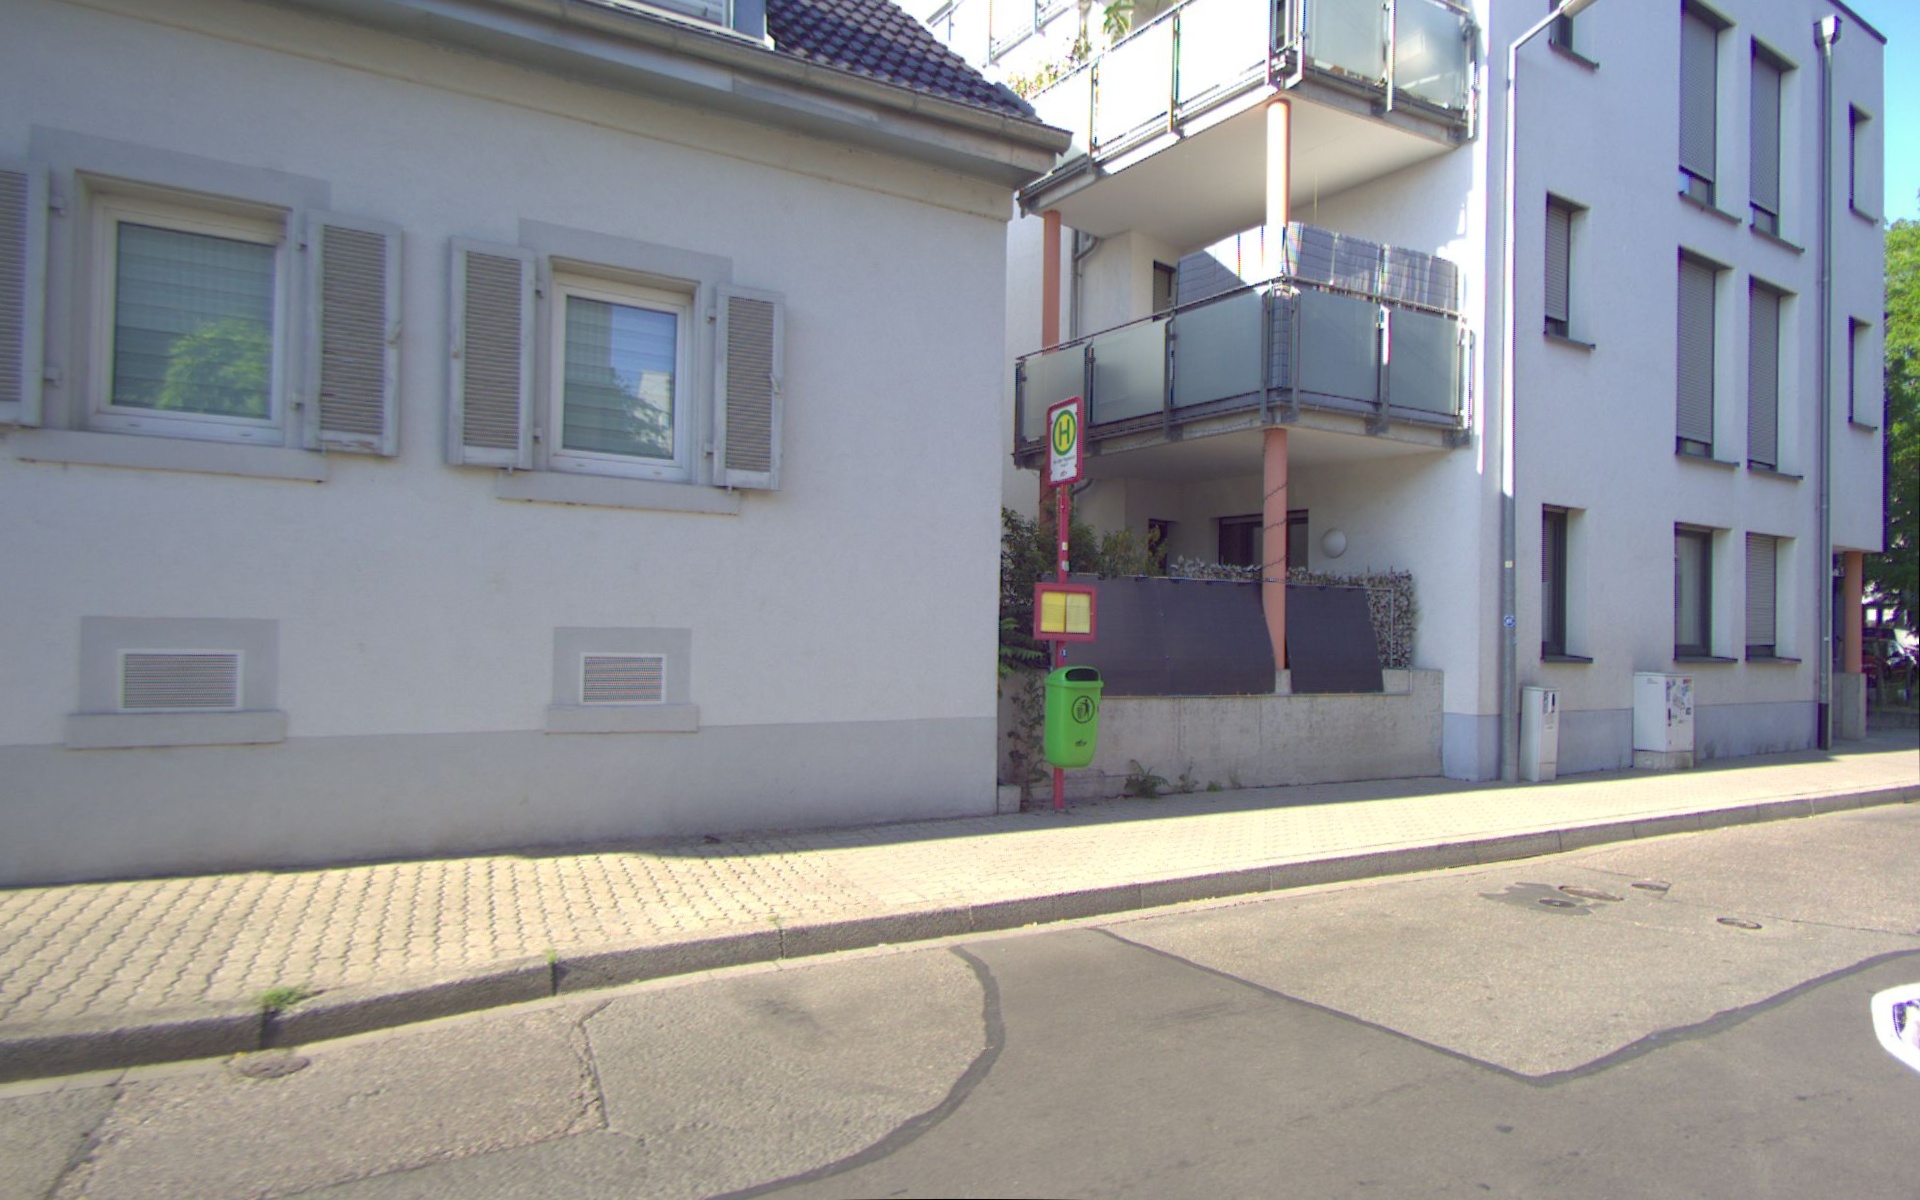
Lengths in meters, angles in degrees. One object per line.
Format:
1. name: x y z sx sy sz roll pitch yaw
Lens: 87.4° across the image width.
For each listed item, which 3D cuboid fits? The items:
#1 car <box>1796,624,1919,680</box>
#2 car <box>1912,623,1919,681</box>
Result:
1. car: 27.452 1.576 30.618 4.096 1.468 1.709 2 2 -31
2. car: 29.327 1.572 28.778 4.571 1.608 1.847 2 2 -33
